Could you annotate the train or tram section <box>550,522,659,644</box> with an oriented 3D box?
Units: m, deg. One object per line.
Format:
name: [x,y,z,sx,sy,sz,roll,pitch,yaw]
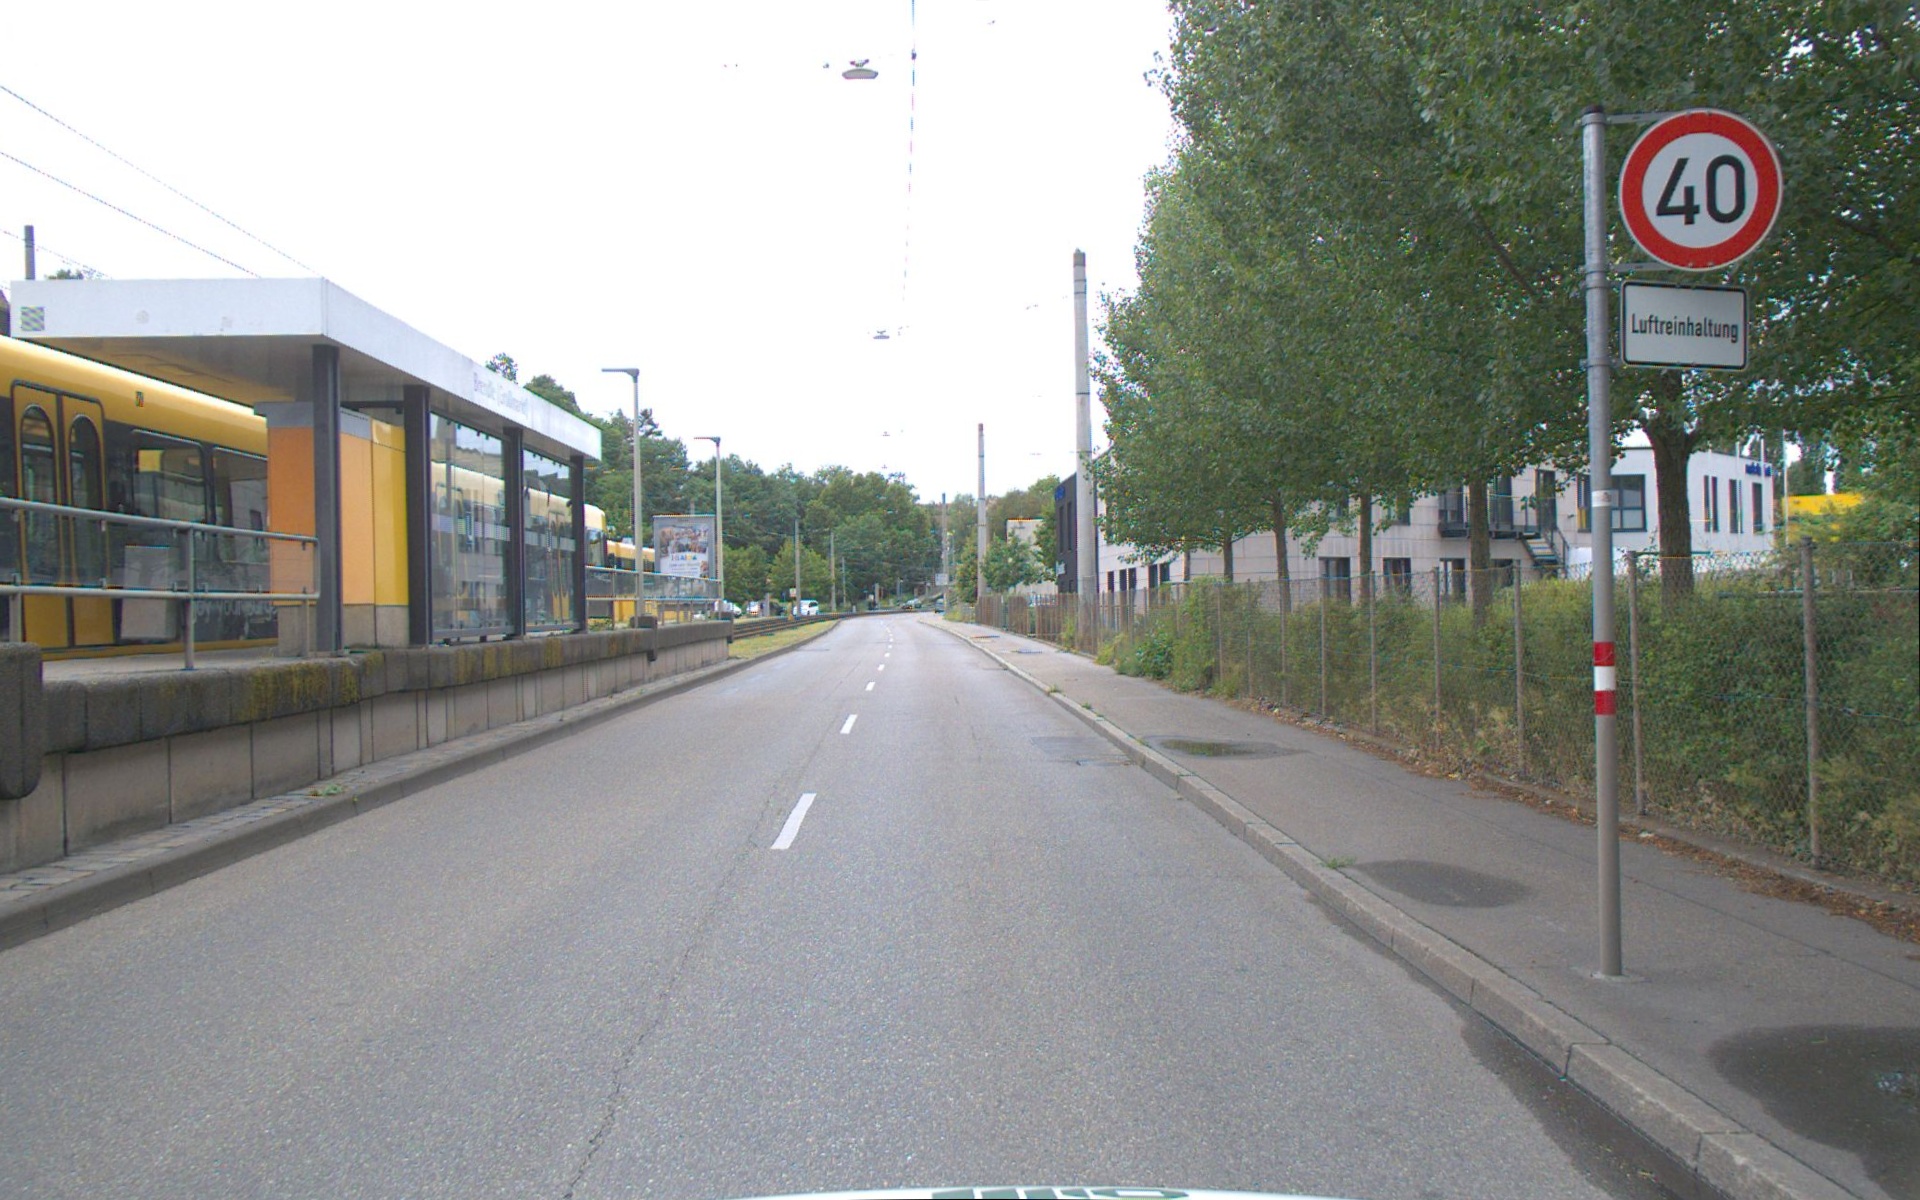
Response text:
train or tram section: [-12.221,-0.488,57.552,1.953,3.862,9.175,-2,-1,-1]

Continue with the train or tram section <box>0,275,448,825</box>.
train or tram section: [-8.565,-0.375,17.784,2.685,4.036,11.907,-2,0,-2]

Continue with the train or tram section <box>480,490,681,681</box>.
train or tram section: [-9.254,-0.361,41.679,2.912,4.136,10.192,-2,0,-2]

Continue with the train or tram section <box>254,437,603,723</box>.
train or tram section: [-8.917,-0.330,29.722,2.685,4.036,11.907,-2,0,-2]

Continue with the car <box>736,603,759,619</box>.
car: [-26.204,1.366,204.130,1.789,1.736,4.145,-2,-4,8]
